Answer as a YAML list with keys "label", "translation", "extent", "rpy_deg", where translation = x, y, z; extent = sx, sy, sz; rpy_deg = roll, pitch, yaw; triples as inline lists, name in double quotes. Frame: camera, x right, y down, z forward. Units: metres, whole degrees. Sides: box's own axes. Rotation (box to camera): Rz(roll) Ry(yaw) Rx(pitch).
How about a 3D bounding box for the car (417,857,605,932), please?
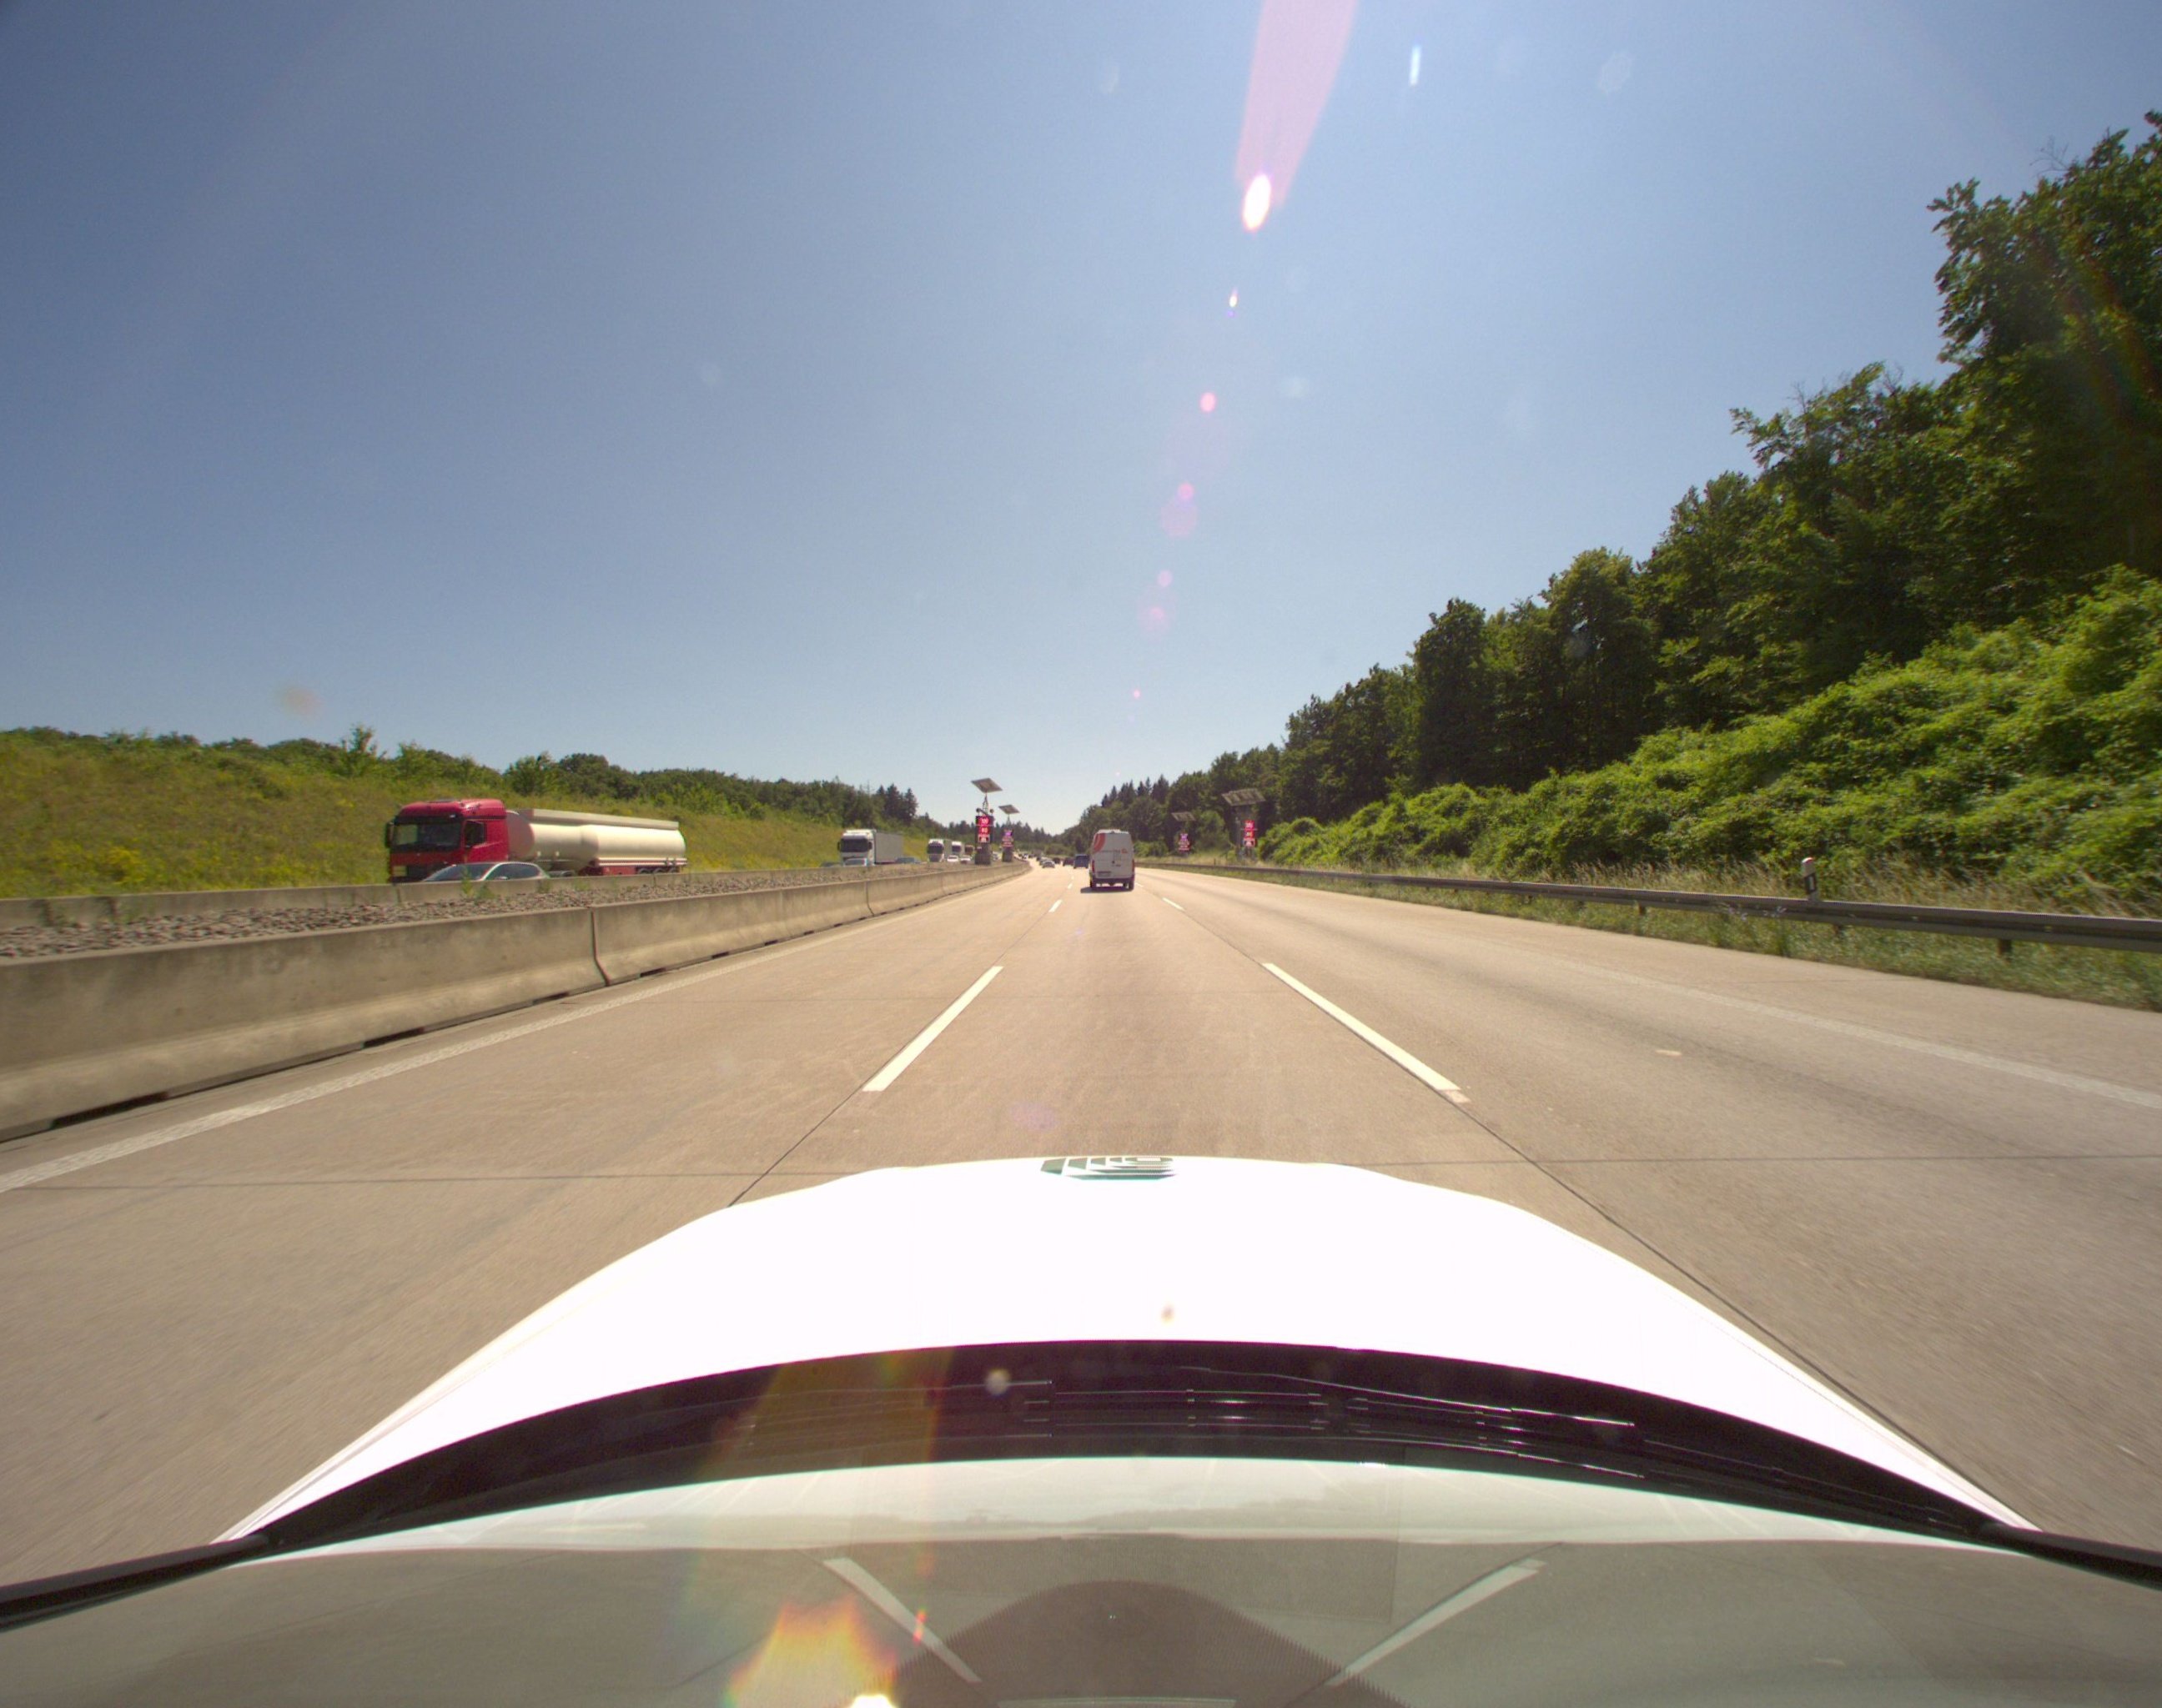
- label: "car"
  translation: [-14.699, 0.979, 21.322]
  extent: [1.986, 1.717, 4.001]
  rpy_deg: [-1, 0, 1]

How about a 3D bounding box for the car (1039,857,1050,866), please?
- label: "car"
  translation: [-7.087, 1.387, 160.007]
  extent: [1.988, 1.684, 3.997]
  rpy_deg: [1, 0, -2]

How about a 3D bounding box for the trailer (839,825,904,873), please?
- label: "trailer"
  translation: [-19.723, -0.400, 77.962]
  extent: [2.926, 4.169, 14.375]
  rpy_deg: [1, 0, -2]

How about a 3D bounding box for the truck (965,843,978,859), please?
- label: "truck"
  translation: [-31.759, -0.709, 236.562]
  extent: [2.909, 4.513, 11.241]
  rpy_deg: [-1, 0, -4]

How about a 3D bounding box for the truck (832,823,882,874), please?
- label: "truck"
  translation: [-19.462, -0.457, 71.095]
  extent: [2.926, 4.169, 5.755]
  rpy_deg: [1, -1, -2]

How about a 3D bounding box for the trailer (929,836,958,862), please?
- label: "trailer"
  translation: [-22.926, -0.727, 136.180]
  extent: [2.926, 4.169, 14.374]
  rpy_deg: [1, 0, -2]

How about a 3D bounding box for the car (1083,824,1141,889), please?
- label: "car"
  translation: [1.369, 0.101, 38.589]
  extent: [2.221, 2.844, 5.448]
  rpy_deg: [-1, 0, -3]

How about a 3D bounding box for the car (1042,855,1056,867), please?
- label: "car"
  translation: [-4.764, 0.989, 121.447]
  extent: [1.988, 1.684, 3.997]
  rpy_deg: [1, 0, -2]

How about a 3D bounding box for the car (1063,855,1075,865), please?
- label: "car"
  translation: [-2.171, 1.004, 144.319]
  extent: [1.988, 1.684, 3.997]
  rpy_deg: [1, 0, -2]

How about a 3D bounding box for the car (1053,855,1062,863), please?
- label: "car"
  translation: [-5.185, 1.025, 181.120]
  extent: [1.988, 1.684, 3.997]
  rpy_deg: [1, 0, -2]

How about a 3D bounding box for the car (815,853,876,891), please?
- label: "car"
  translation: [-12.346, 0.909, 42.933]
  extent: [1.987, 1.904, 4.038]
  rpy_deg: [-1, 0, 0]

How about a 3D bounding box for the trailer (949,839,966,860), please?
- label: "trailer"
  translation: [-25.606, -0.920, 169.116]
  extent: [2.928, 4.169, 6.880]
  rpy_deg: [1, -1, -4]

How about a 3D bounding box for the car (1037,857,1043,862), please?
- label: "car"
  translation: [-13.112, 1.721, 260.894]
  extent: [1.988, 1.684, 3.997]
  rpy_deg: [1, 0, -2]

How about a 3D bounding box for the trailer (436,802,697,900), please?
- label: "trailer"
  translation: [-19.949, -0.058, 33.099]
  extent: [2.923, 3.215, 11.831]
  rpy_deg: [1, 0, 0]

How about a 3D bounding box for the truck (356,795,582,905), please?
- label: "truck"
  translation: [-20.002, -0.091, 27.163]
  extent: [2.924, 3.215, 5.905]
  rpy_deg: [1, -1, 0]

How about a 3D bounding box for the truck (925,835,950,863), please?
- label: "truck"
  translation: [-22.587, -0.781, 128.336]
  extent: [2.926, 4.169, 6.223]
  rpy_deg: [1, -1, -3]

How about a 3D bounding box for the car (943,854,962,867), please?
- label: "car"
  translation: [-17.888, 0.866, 113.742]
  extent: [1.988, 1.684, 3.998]
  rpy_deg: [-1, 0, -1]

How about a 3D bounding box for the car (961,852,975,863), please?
- label: "car"
  translation: [-19.237, 0.569, 138.849]
  extent: [1.988, 1.684, 3.998]
  rpy_deg: [-1, 0, -1]

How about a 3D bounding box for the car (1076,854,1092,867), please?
- label: "car"
  translation: [0.354, 0.846, 109.945]
  extent: [1.988, 1.684, 3.997]
  rpy_deg: [1, 0, -2]
